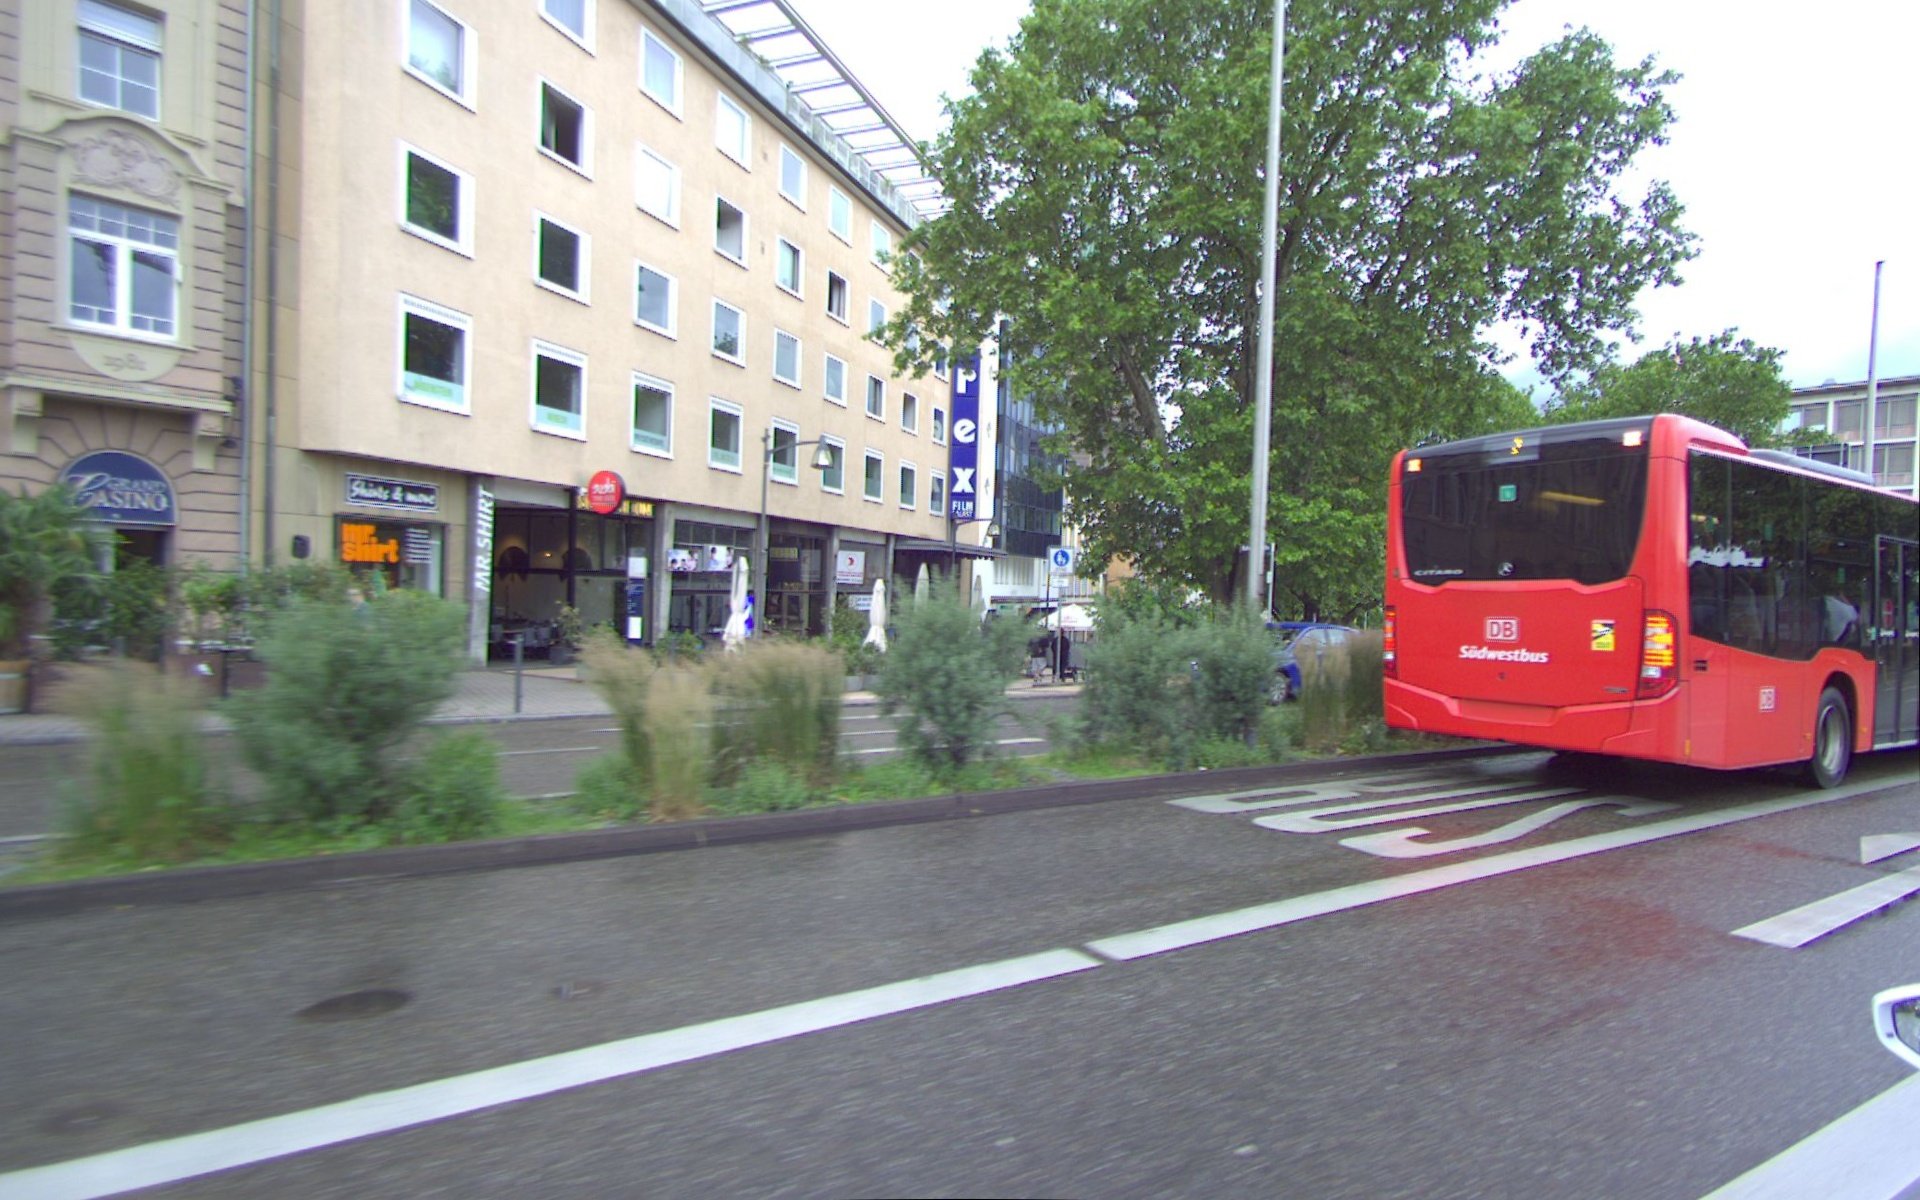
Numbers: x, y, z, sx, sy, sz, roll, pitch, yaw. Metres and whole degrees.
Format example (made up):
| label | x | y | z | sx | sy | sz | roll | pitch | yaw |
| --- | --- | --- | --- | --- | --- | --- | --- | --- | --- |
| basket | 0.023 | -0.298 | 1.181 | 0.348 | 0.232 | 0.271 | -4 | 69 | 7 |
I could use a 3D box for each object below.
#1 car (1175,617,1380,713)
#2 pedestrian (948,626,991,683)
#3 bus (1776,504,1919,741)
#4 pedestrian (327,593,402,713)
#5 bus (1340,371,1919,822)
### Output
| label | x | y | z | sx | sy | sz | roll | pitch | yaw |
| --- | --- | --- | --- | --- | --- | --- | --- | --- | --- |
| car | 6.106 | 1.168 | 19.104 | 4.113 | 1.600 | 1.776 | 2 | -1 | -40 |
| pedestrian | 0.278 | 1.547 | 28.859 | 0.983 | 1.582 | 0.969 | 2 | 0 | 17 |
| bus | 16.482 | 0.398 | 15.920 | 8.742 | 3.174 | 2.738 | 1 | 0 | -31 |
| pedestrian | -7.995 | 0.691 | 13.494 | 0.722 | 1.550 | 0.683 | 1 | -1 | -43 |
| bus | 8.584 | 0.071 | 11.100 | 9.801 | 3.289 | 2.795 | 1 | 0 | -32 |
